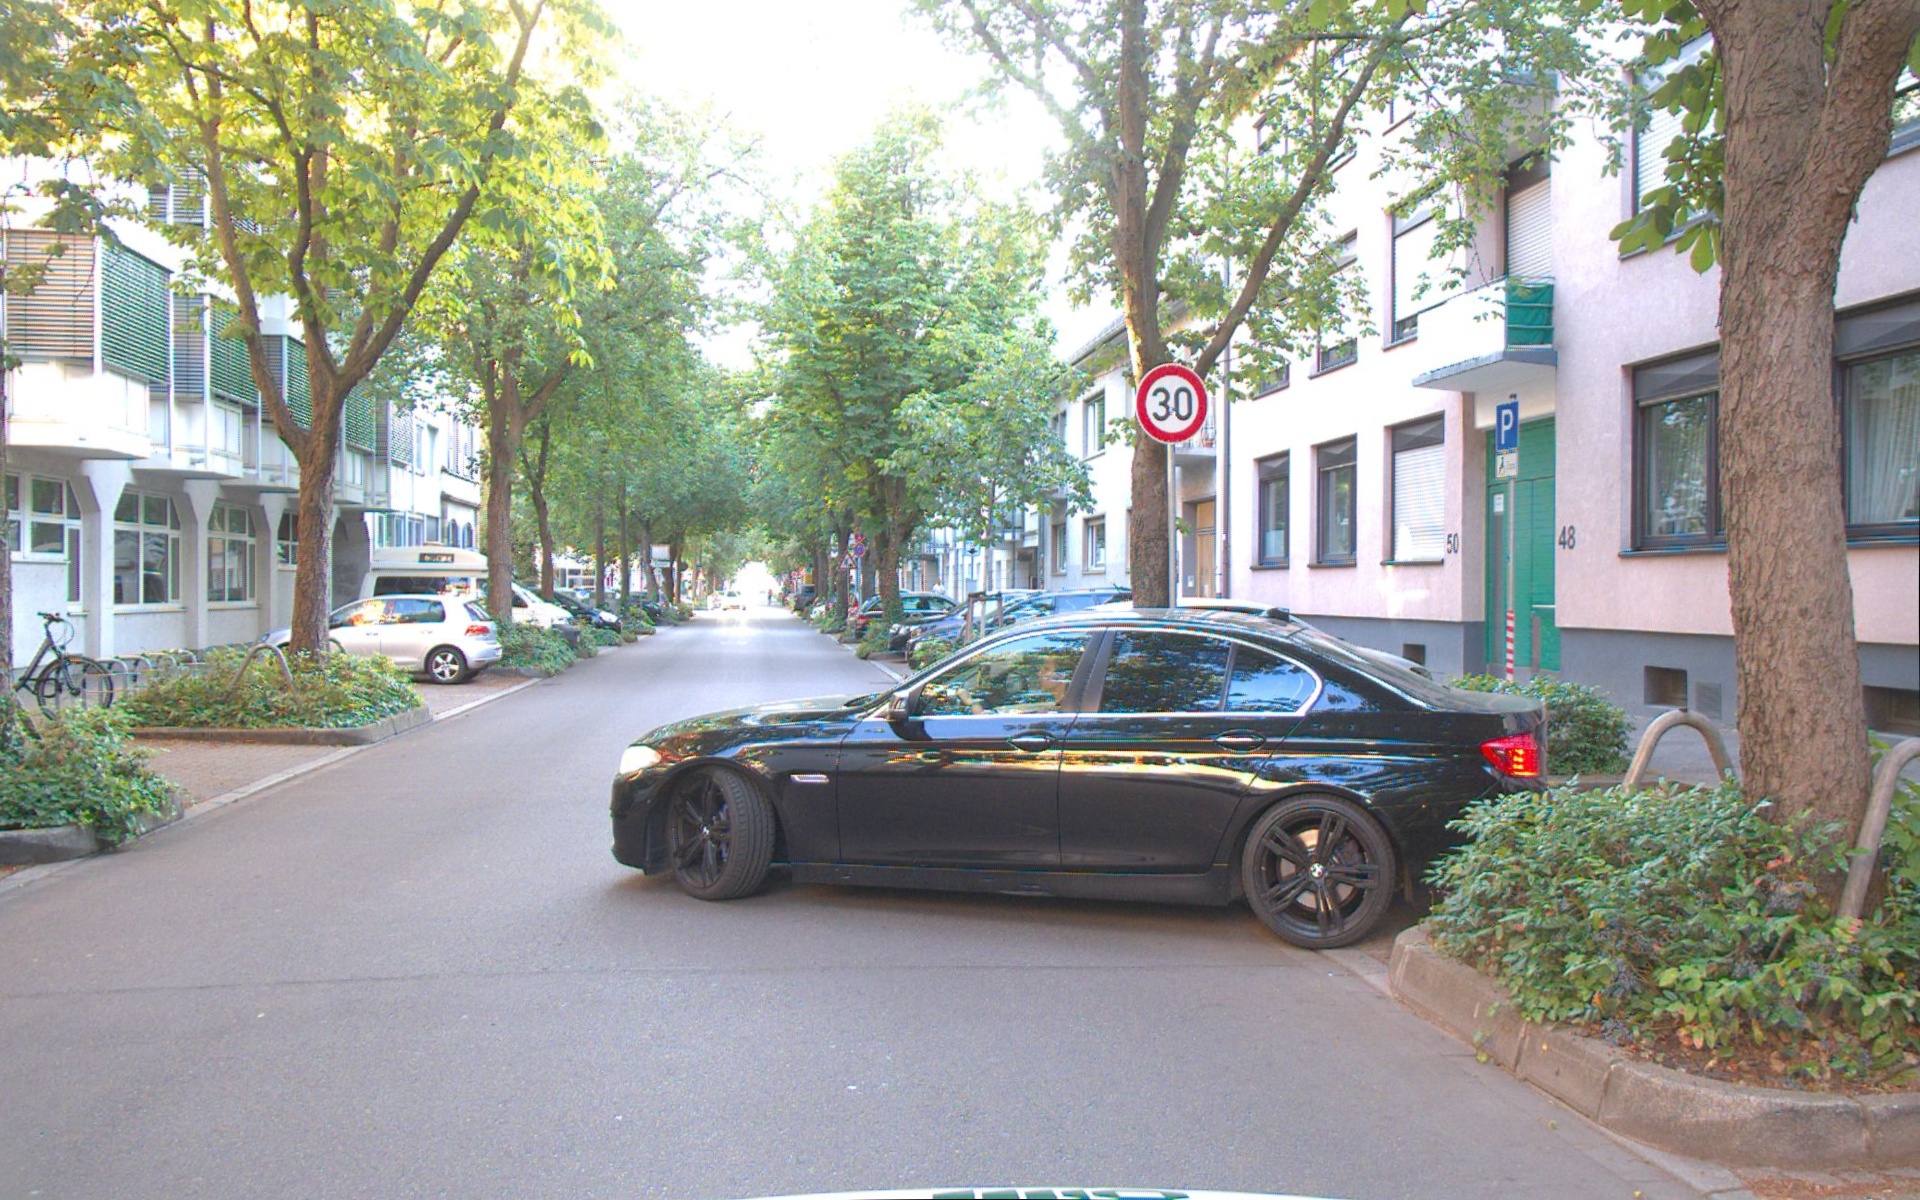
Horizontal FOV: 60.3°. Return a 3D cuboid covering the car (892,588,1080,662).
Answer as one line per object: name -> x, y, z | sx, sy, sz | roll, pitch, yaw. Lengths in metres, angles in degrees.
car -> 0.536, 0.521, 36.143 | 3.893, 1.554, 1.782 | 0, 0, -8

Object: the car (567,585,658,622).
car -> -15.916, 0.153, 75.906 | 3.891, 1.647, 1.783 | 0, 0, -6

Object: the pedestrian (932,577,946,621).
pedestrian -> -0.963, -0.050, 76.324 | 0.577, 2.049, 0.669 | 0, 0, -6

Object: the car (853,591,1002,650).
car -> -0.916, 0.529, 44.931 | 3.893, 1.554, 1.782 | 0, 0, -8

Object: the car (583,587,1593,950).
car -> 0.626, 0.693, 8.354 | 4.644, 1.506, 1.801 | 0, 0, 16

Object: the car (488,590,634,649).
car -> -11.499, 0.556, 47.851 | 3.892, 1.647, 1.783 | 0, 0, -6

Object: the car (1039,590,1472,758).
car -> 2.805, 0.662, 16.101 | 3.836, 1.502, 1.661 | 0, 0, -9

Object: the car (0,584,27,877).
car -> -7.109, 0.702, 7.860 | 4.272, 1.544, 1.782 | 0, 0, -7

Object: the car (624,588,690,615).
car -> -18.745, 0.103, 102.415 | 3.891, 1.647, 1.783 | 0, 0, -6

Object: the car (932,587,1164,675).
car -> 1.537, 0.532, 29.697 | 3.894, 1.502, 1.781 | 0, 0, -9

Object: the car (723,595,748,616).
car -> -16.890, 0.411, 124.700 | 1.745, 1.589, 4.162 | 0, 0, -6

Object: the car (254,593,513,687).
car -> -9.869, 0.666, 28.572 | 3.892, 1.544, 1.783 | 0, 0, -6

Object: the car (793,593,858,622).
car -> -8.177, 0.455, 100.637 | 3.891, 1.713, 1.783 | 0, 0, -6

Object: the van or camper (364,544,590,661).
van or camper -> -10.680, 0.048, 36.874 | 4.575, 2.521, 1.997 | 0, 0, -7

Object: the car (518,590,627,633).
car -> -15.021, 0.430, 64.265 | 3.891, 1.647, 1.783 | 0, 0, -6

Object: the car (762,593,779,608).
car -> -19.915, 0.013, 174.080 | 1.787, 1.557, 3.995 | -1, 0, -6

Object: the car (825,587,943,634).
car -> -2.636, 0.356, 56.771 | 3.894, 1.554, 1.782 | 0, 0, -9
